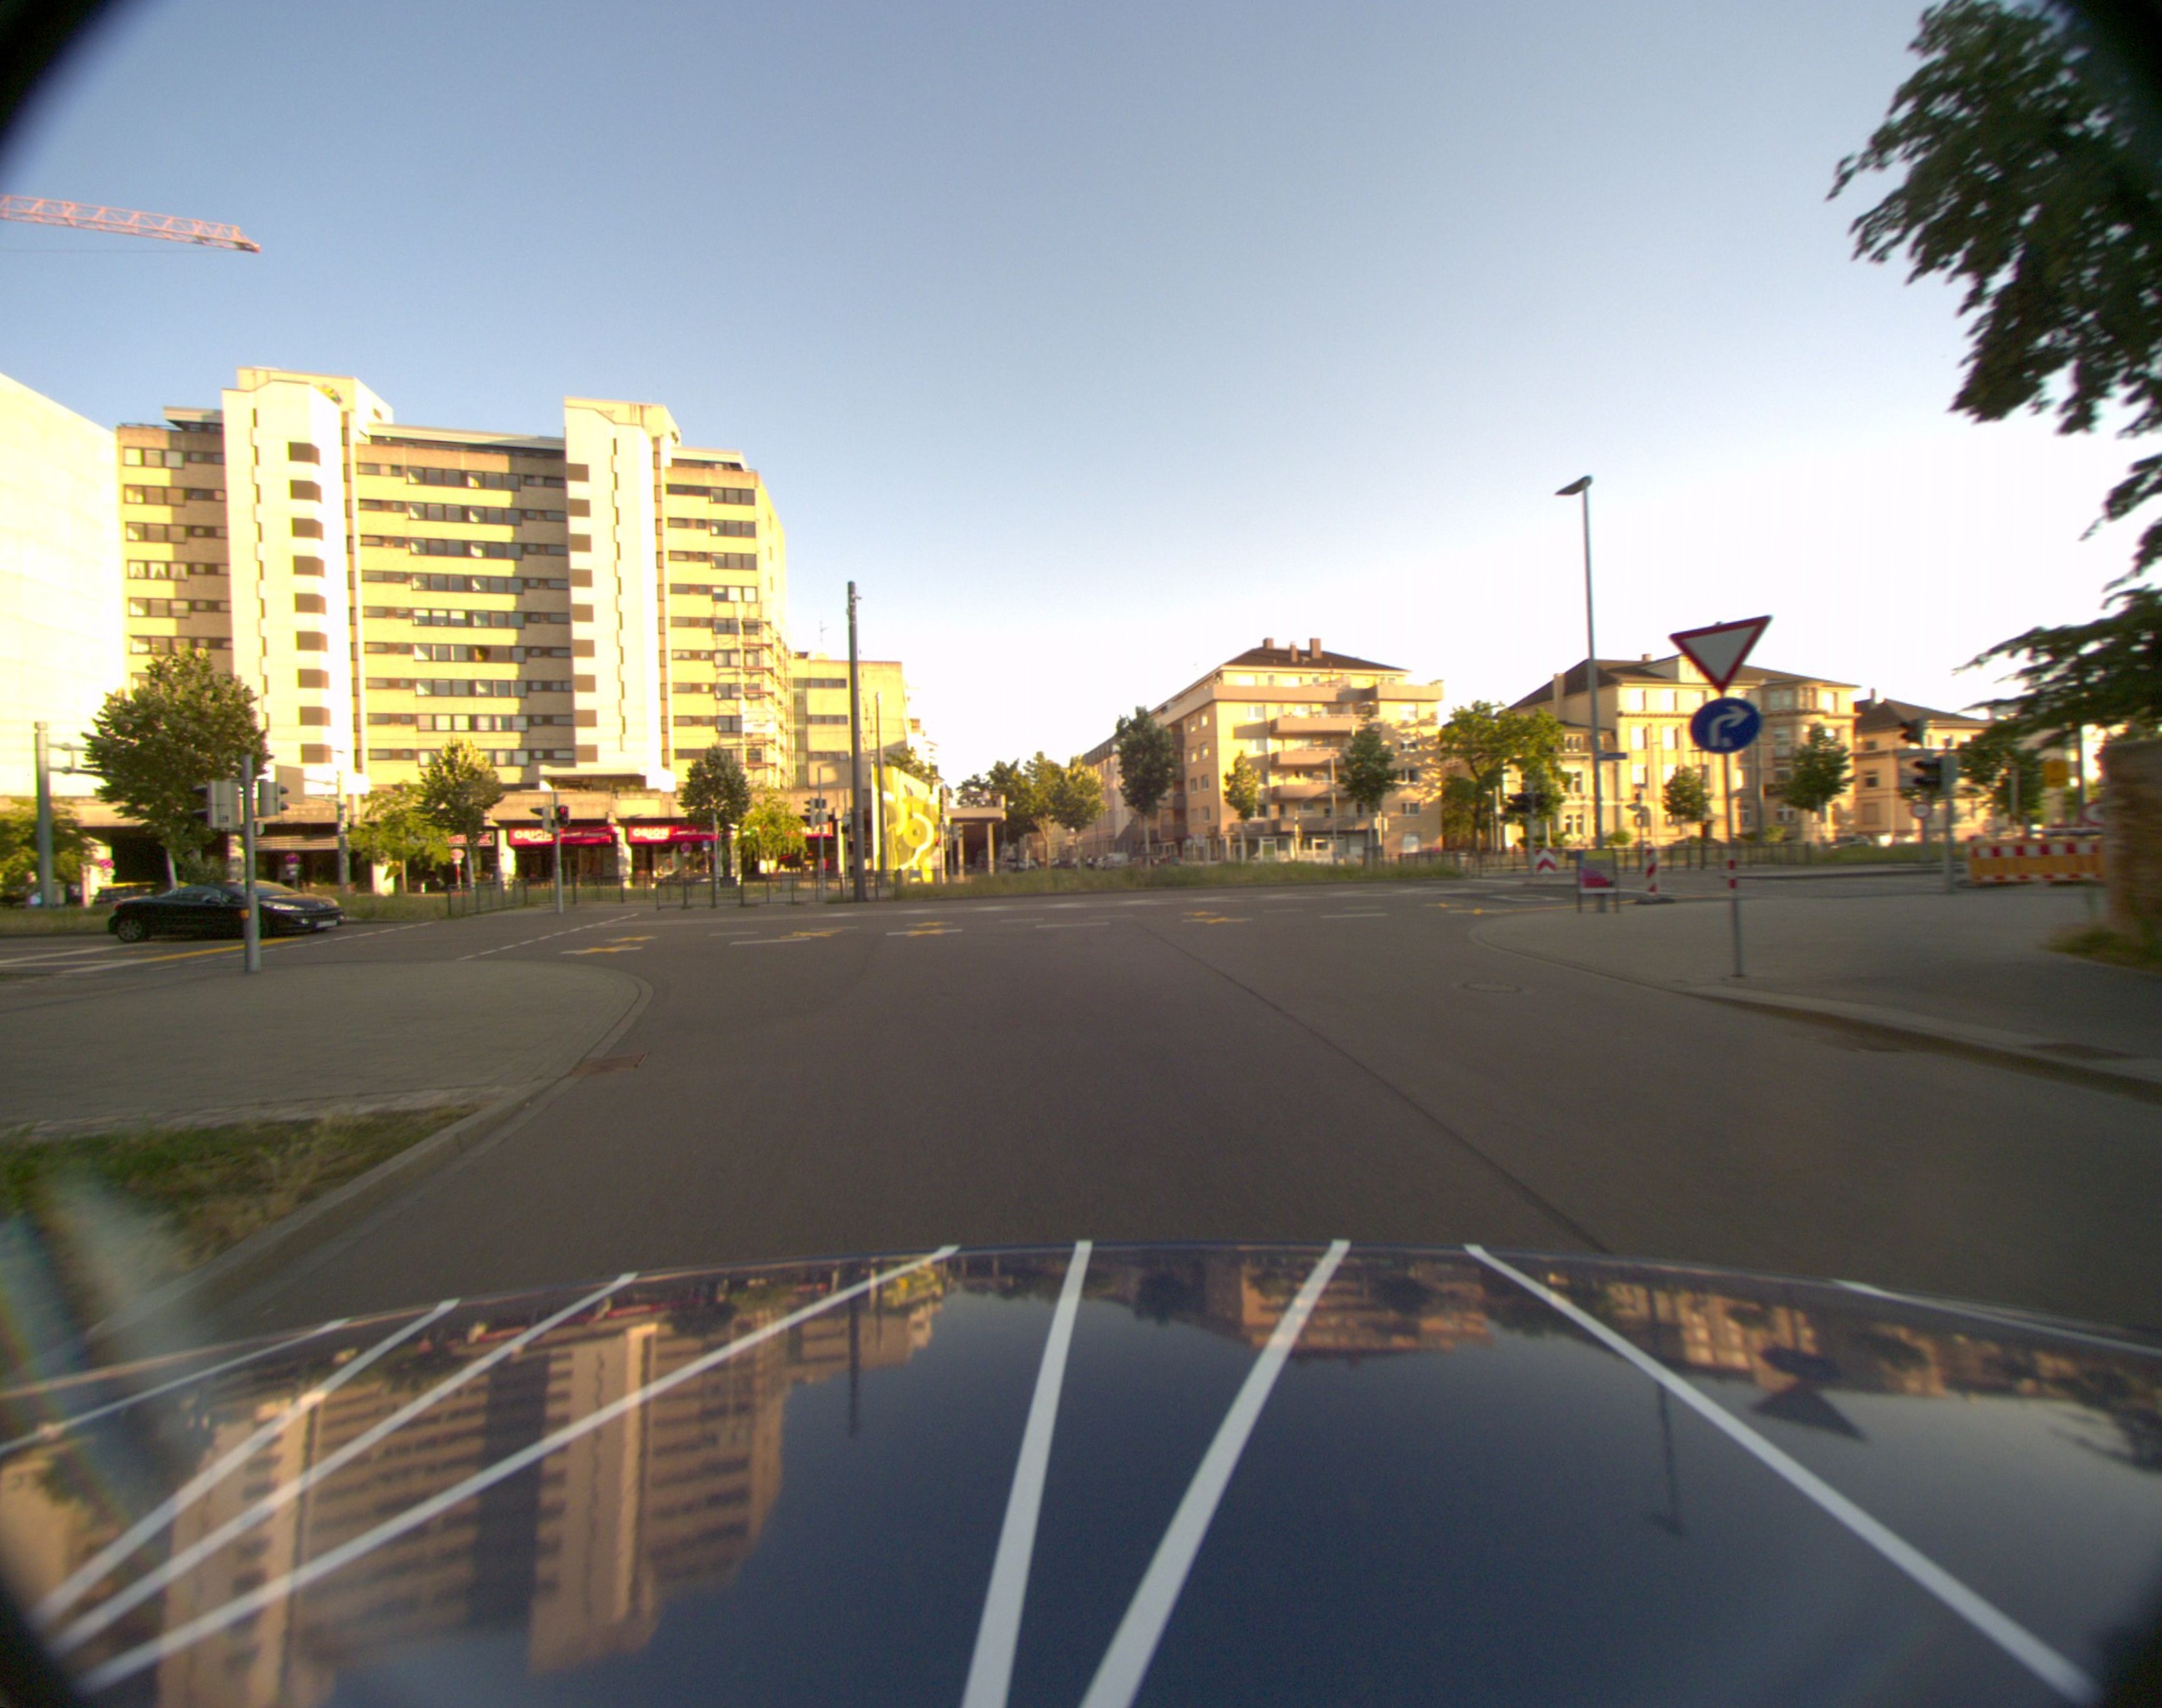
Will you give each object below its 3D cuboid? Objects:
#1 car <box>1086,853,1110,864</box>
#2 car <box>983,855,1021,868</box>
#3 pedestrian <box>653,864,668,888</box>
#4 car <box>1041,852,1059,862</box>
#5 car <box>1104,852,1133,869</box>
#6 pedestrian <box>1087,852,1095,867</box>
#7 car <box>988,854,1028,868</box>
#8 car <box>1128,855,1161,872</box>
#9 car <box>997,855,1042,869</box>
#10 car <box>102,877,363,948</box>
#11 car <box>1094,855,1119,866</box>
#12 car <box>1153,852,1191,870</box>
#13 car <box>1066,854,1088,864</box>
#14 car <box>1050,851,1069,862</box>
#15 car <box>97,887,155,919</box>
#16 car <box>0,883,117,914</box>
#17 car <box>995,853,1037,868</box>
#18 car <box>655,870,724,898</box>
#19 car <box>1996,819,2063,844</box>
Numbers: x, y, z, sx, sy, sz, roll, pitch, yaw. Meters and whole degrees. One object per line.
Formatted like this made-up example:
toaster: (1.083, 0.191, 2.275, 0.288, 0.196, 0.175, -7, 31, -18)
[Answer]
car: (2.050, 0.569, 91.495, 2.001, 1.237, 3.995, -2, 0, -13)
car: (-10.065, 0.959, 96.798, 4.645, 1.551, 1.998, -2, 1, -12)
pedestrian: (-28.837, 1.491, 52.072, 0.726, 1.604, 0.655, -2, 1, -17)
car: (-4.887, 0.475, 119.042, 2.001, 1.521, 3.995, -2, 0, -13)
car: (3.995, 0.667, 81.525, 2.001, 1.740, 3.995, -2, 0, -13)
pedestrian: (1.385, 0.687, 103.573, 0.892, 2.002, 0.770, -2, 1, -13)
car: (-9.053, 0.829, 93.798, 4.645, 1.551, 1.998, -2, 1, -12)
car: (6.074, 0.913, 73.307, 2.001, 1.477, 3.995, -2, 0, -13)
car: (-6.707, 0.842, 82.513, 4.645, 1.390, 1.998, -2, 1, -12)
car: (-19.926, 1.333, 18.004, 3.907, 1.380, 1.800, -2, 1, -4)
car: (2.913, 0.712, 87.467, 2.001, 1.237, 3.995, -2, 0, -13)
car: (7.763, 0.570, 64.983, 2.001, 1.477, 3.995, -2, 0, -13)
car: (-0.555, 0.652, 101.027, 2.001, 1.237, 3.995, -2, 0, -13)
car: (-3.148, 0.427, 111.248, 2.001, 1.521, 3.995, -2, 0, -13)
car: (-51.779, 2.632, 41.170, 4.319, 1.552, 1.726, -2, 1, 36)
car: (-63.794, 2.739, 47.520, 1.722, 1.552, 4.328, -2, 0, -7)
car: (-7.532, 0.761, 87.764, 4.645, 1.551, 1.998, -2, 1, -12)
car: (-24.030, 1.833, 46.550, 4.333, 1.552, 1.965, -2, 1, 36)
car: (80.914, -1.911, 64.820, 4.001, 2.002, 1.998, -2, 1, -12)
